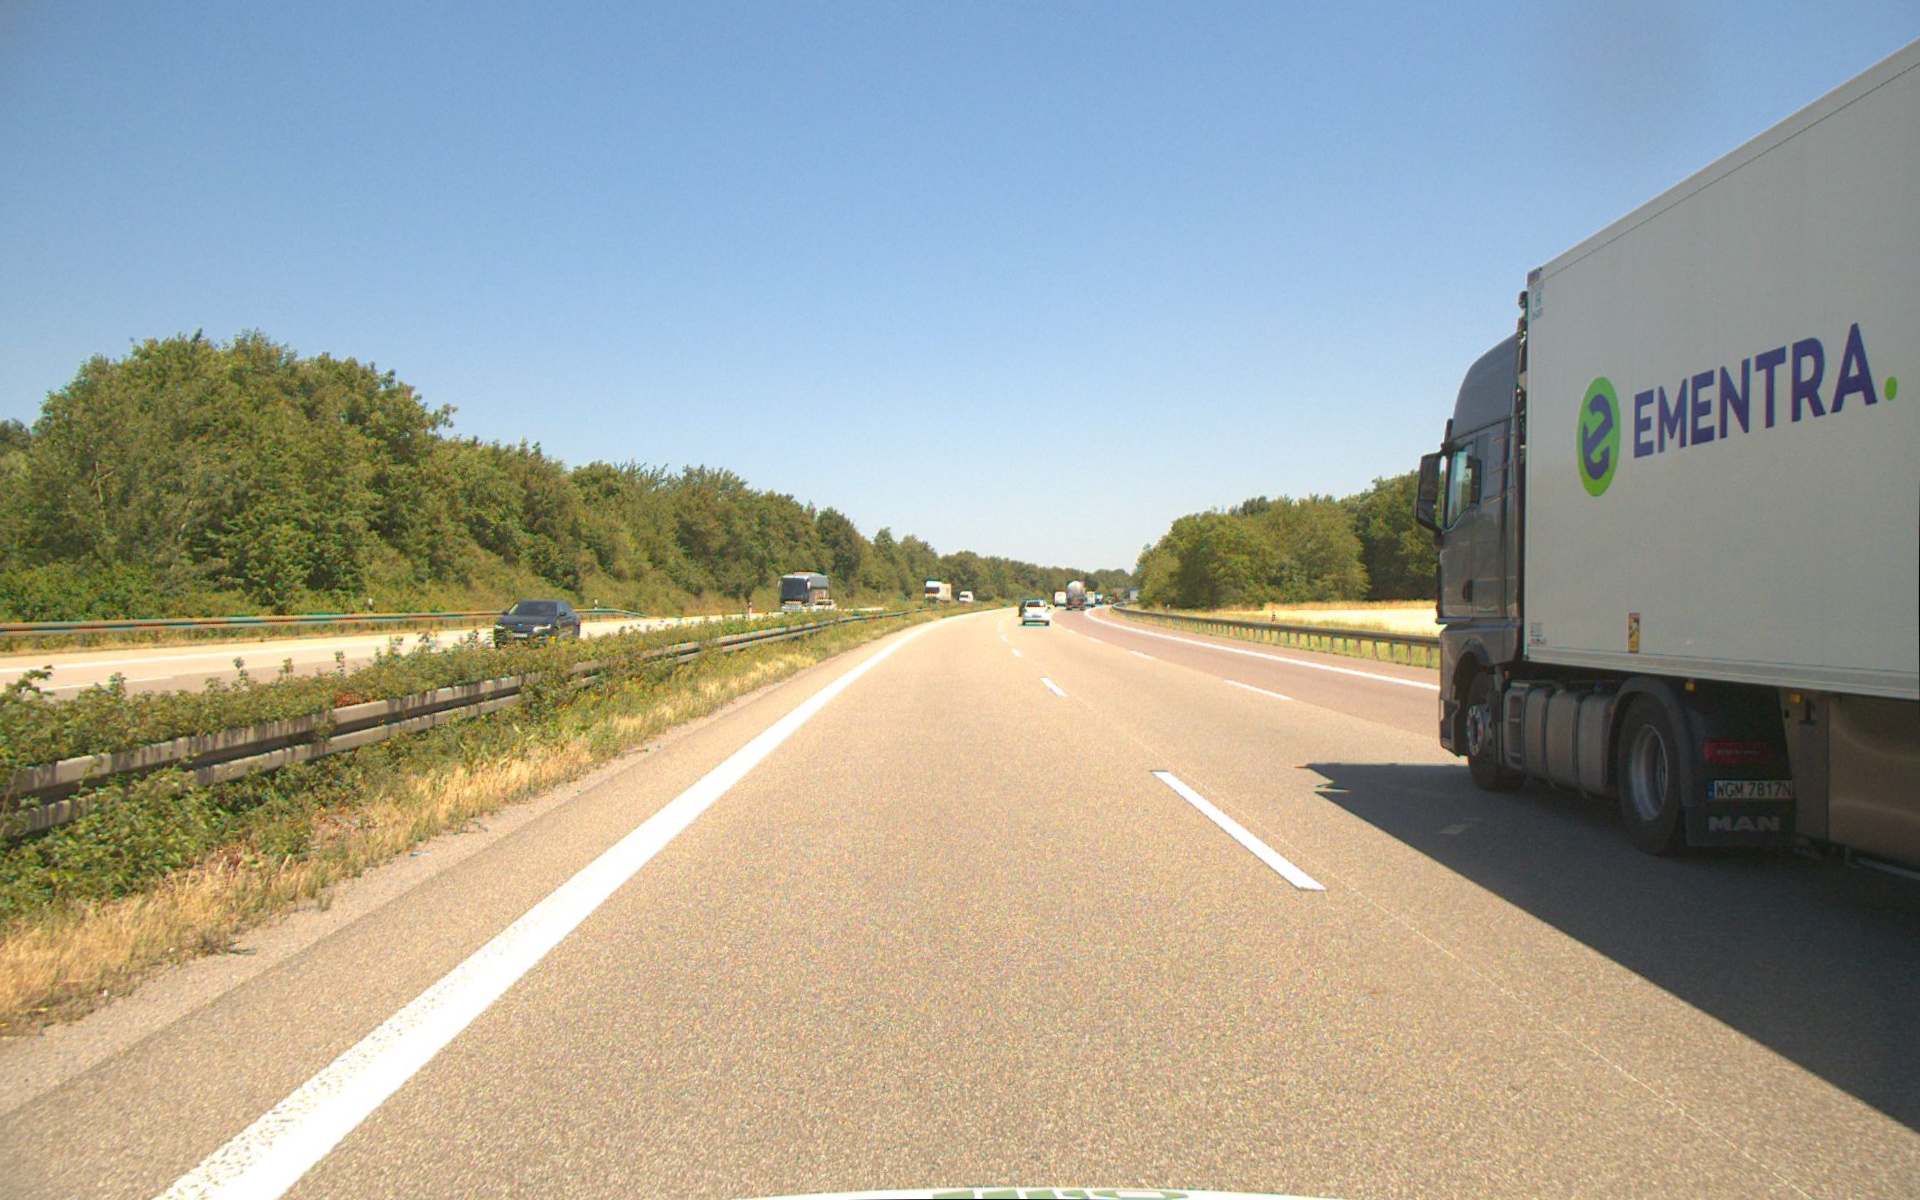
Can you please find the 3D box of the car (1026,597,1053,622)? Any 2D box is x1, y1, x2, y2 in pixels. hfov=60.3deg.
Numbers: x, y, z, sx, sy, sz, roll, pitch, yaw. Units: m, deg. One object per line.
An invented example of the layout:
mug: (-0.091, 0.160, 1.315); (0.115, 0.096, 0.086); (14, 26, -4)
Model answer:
car: (4.904, 0.577, 102.628); (1.593, 1.505, 4.001); (0, 0, 2)

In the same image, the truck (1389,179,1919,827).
truck: (5.618, -0.652, 13.610); (2.848, 4.330, 4.975); (1, 0, 0)

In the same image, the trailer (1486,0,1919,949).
trailer: (5.550, -0.855, 6.172); (2.841, 4.738, 13.987); (1, 0, 1)

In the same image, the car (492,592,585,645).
car: (-12.912, 0.530, 50.874); (1.746, 1.544, 4.500); (0, 0, -1)

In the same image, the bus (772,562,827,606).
bus: (-14.259, -1.355, 148.120); (2.683, 3.772, 13.007); (1, 0, 4)

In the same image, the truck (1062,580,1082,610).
truck: (15.601, -0.643, 231.117); (2.682, 4.123, 10.459); (0, 0, 4)
